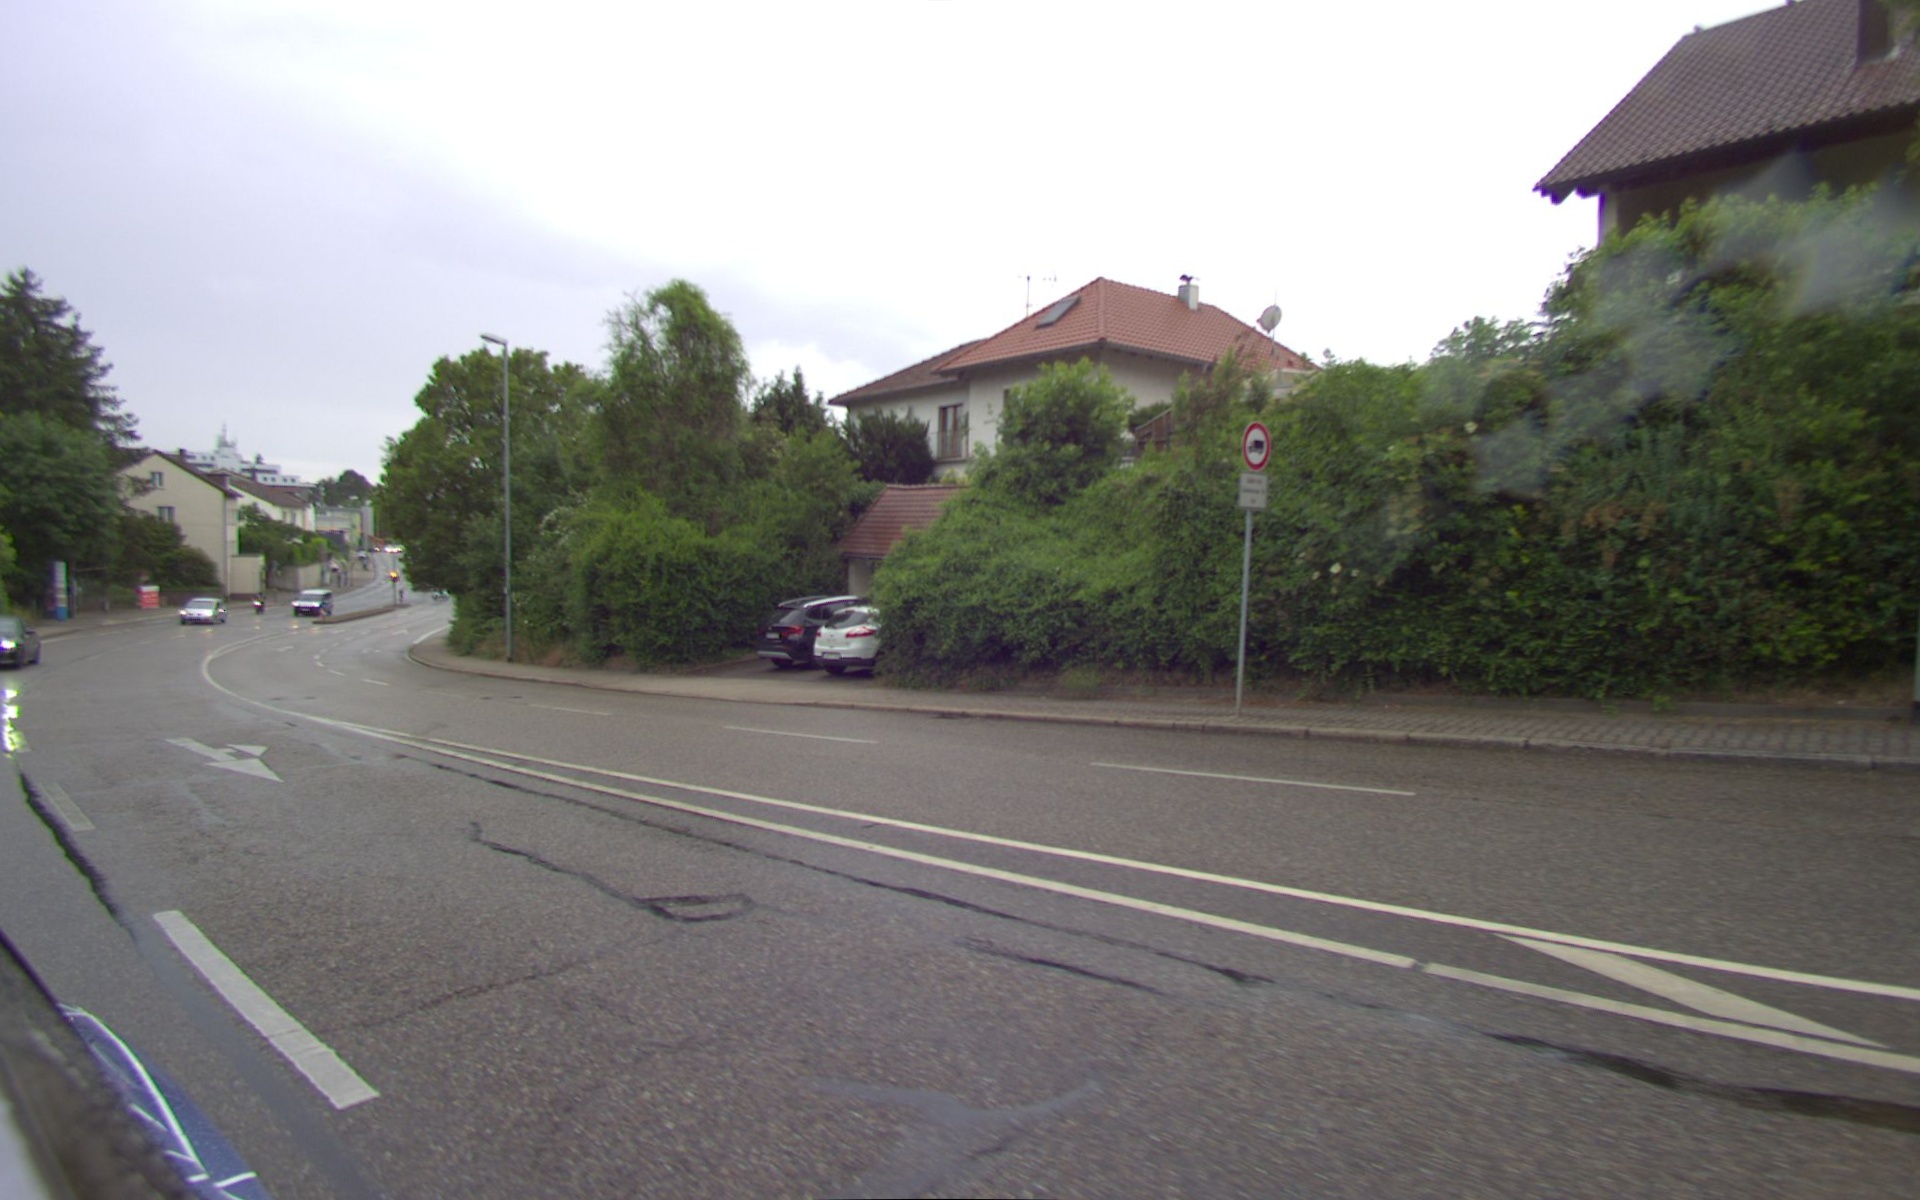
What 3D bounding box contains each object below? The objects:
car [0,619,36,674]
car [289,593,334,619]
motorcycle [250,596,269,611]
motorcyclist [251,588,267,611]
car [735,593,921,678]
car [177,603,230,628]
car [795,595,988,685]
[{"bbox_3d":[-28.293,1.335,29.463,4.199,1.517,1.847,-1,-1,44],"label":"car"},{"bbox_3d":[-48.640,0.468,75.969,1.749,1.788,4.011,2,-2,-16],"label":"car"},{"bbox_3d":[-52.303,0.251,75.589,0.681,1.061,1.753,2,-1,-19],"label":"motorcycle"},{"bbox_3d":[-52.280,-0.038,75.476,0.754,1.655,0.676,1,-1,-19],"label":"motorcyclist"},{"bbox_3d":[-3.081,0.780,24.145,2.000,1.547,3.944,-2,4,43],"label":"car"},{"bbox_3d":[-46.906,0.996,62.806,1.787,1.450,4.013,2,-2,-25],"label":"car"},{"bbox_3d":[-1.403,0.790,21.830,1.812,1.451,3.858,-2,4,44],"label":"car"}]
